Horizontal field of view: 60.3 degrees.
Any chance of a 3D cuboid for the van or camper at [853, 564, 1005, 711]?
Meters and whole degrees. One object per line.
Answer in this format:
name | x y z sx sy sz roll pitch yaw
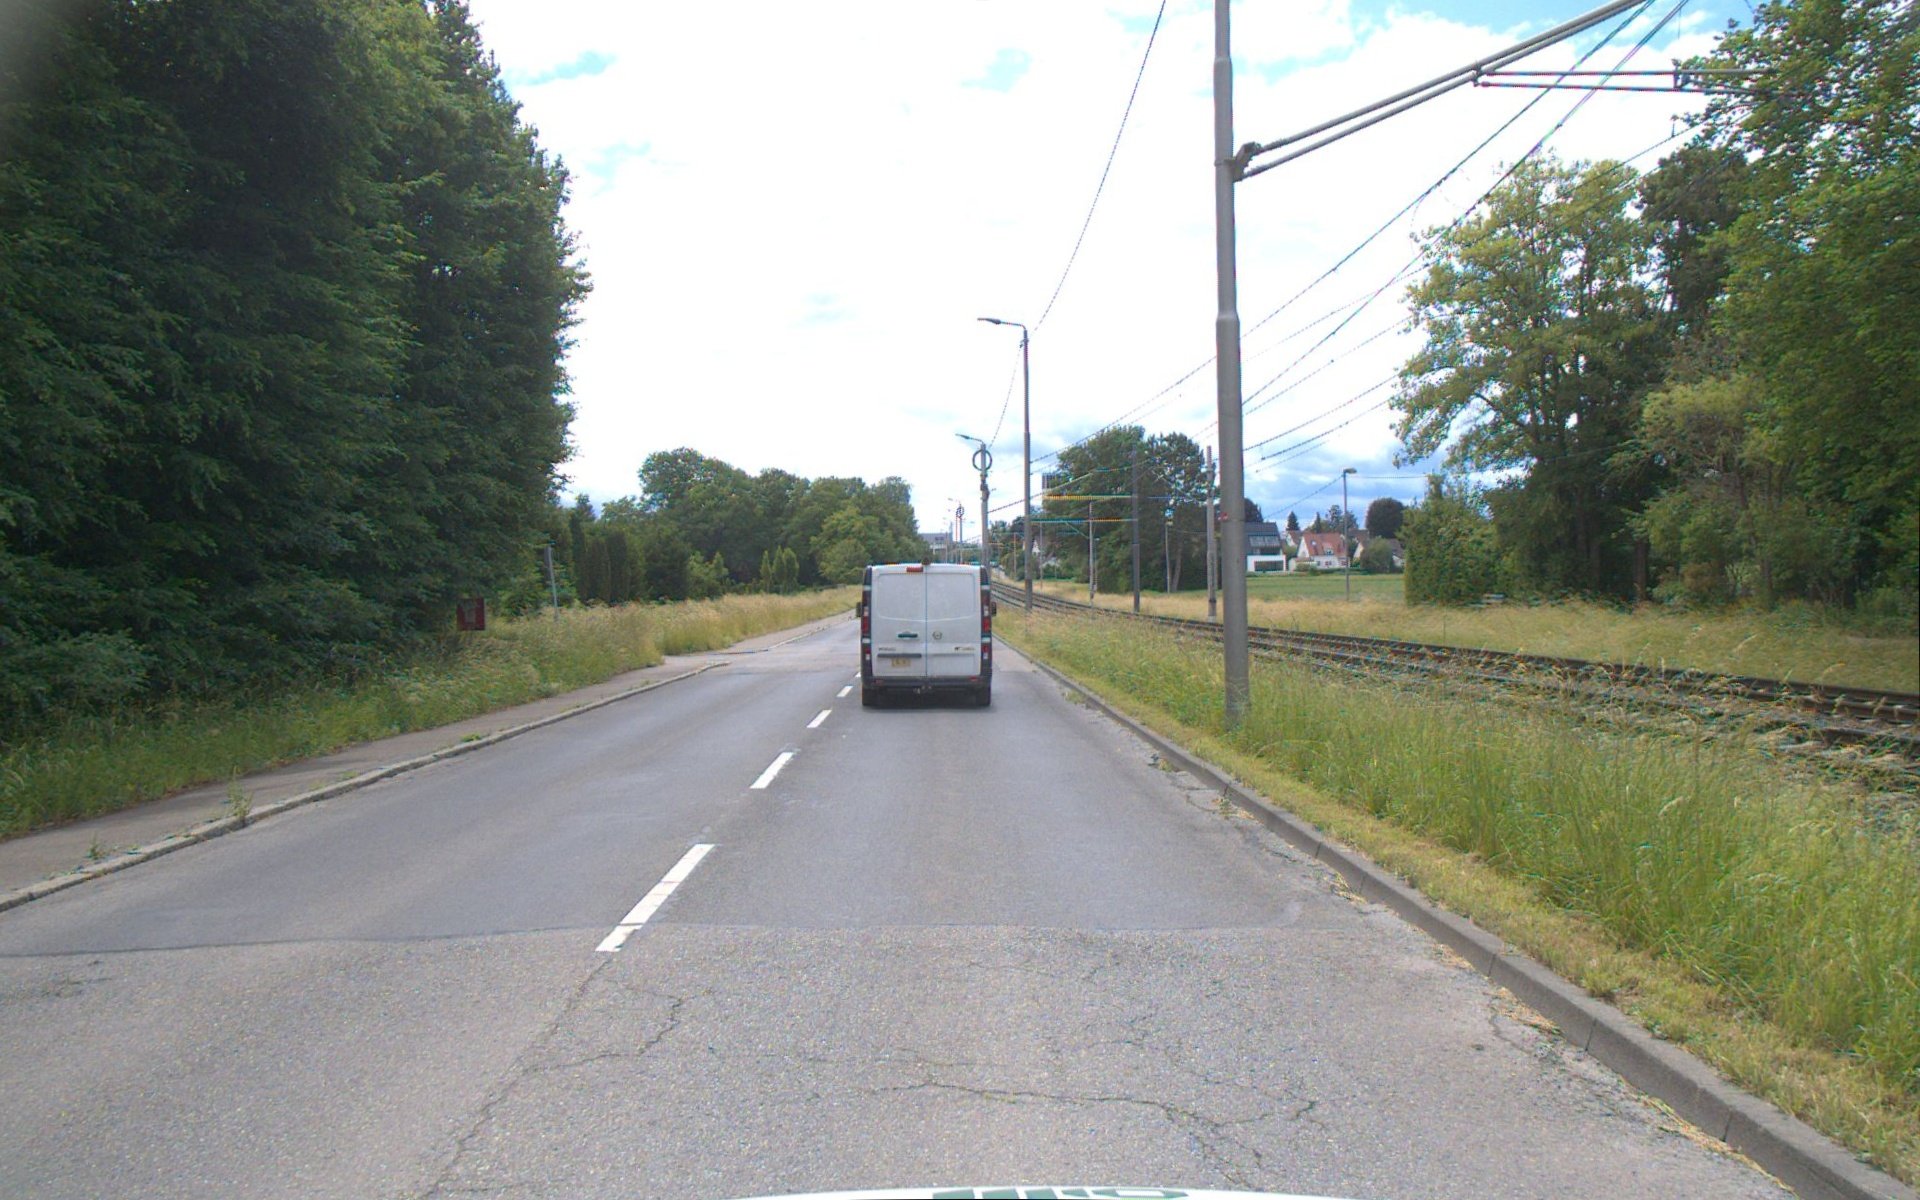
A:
van or camper | -0.358 0.526 24.338 1.901 1.930 4.286 -1 -1 3
